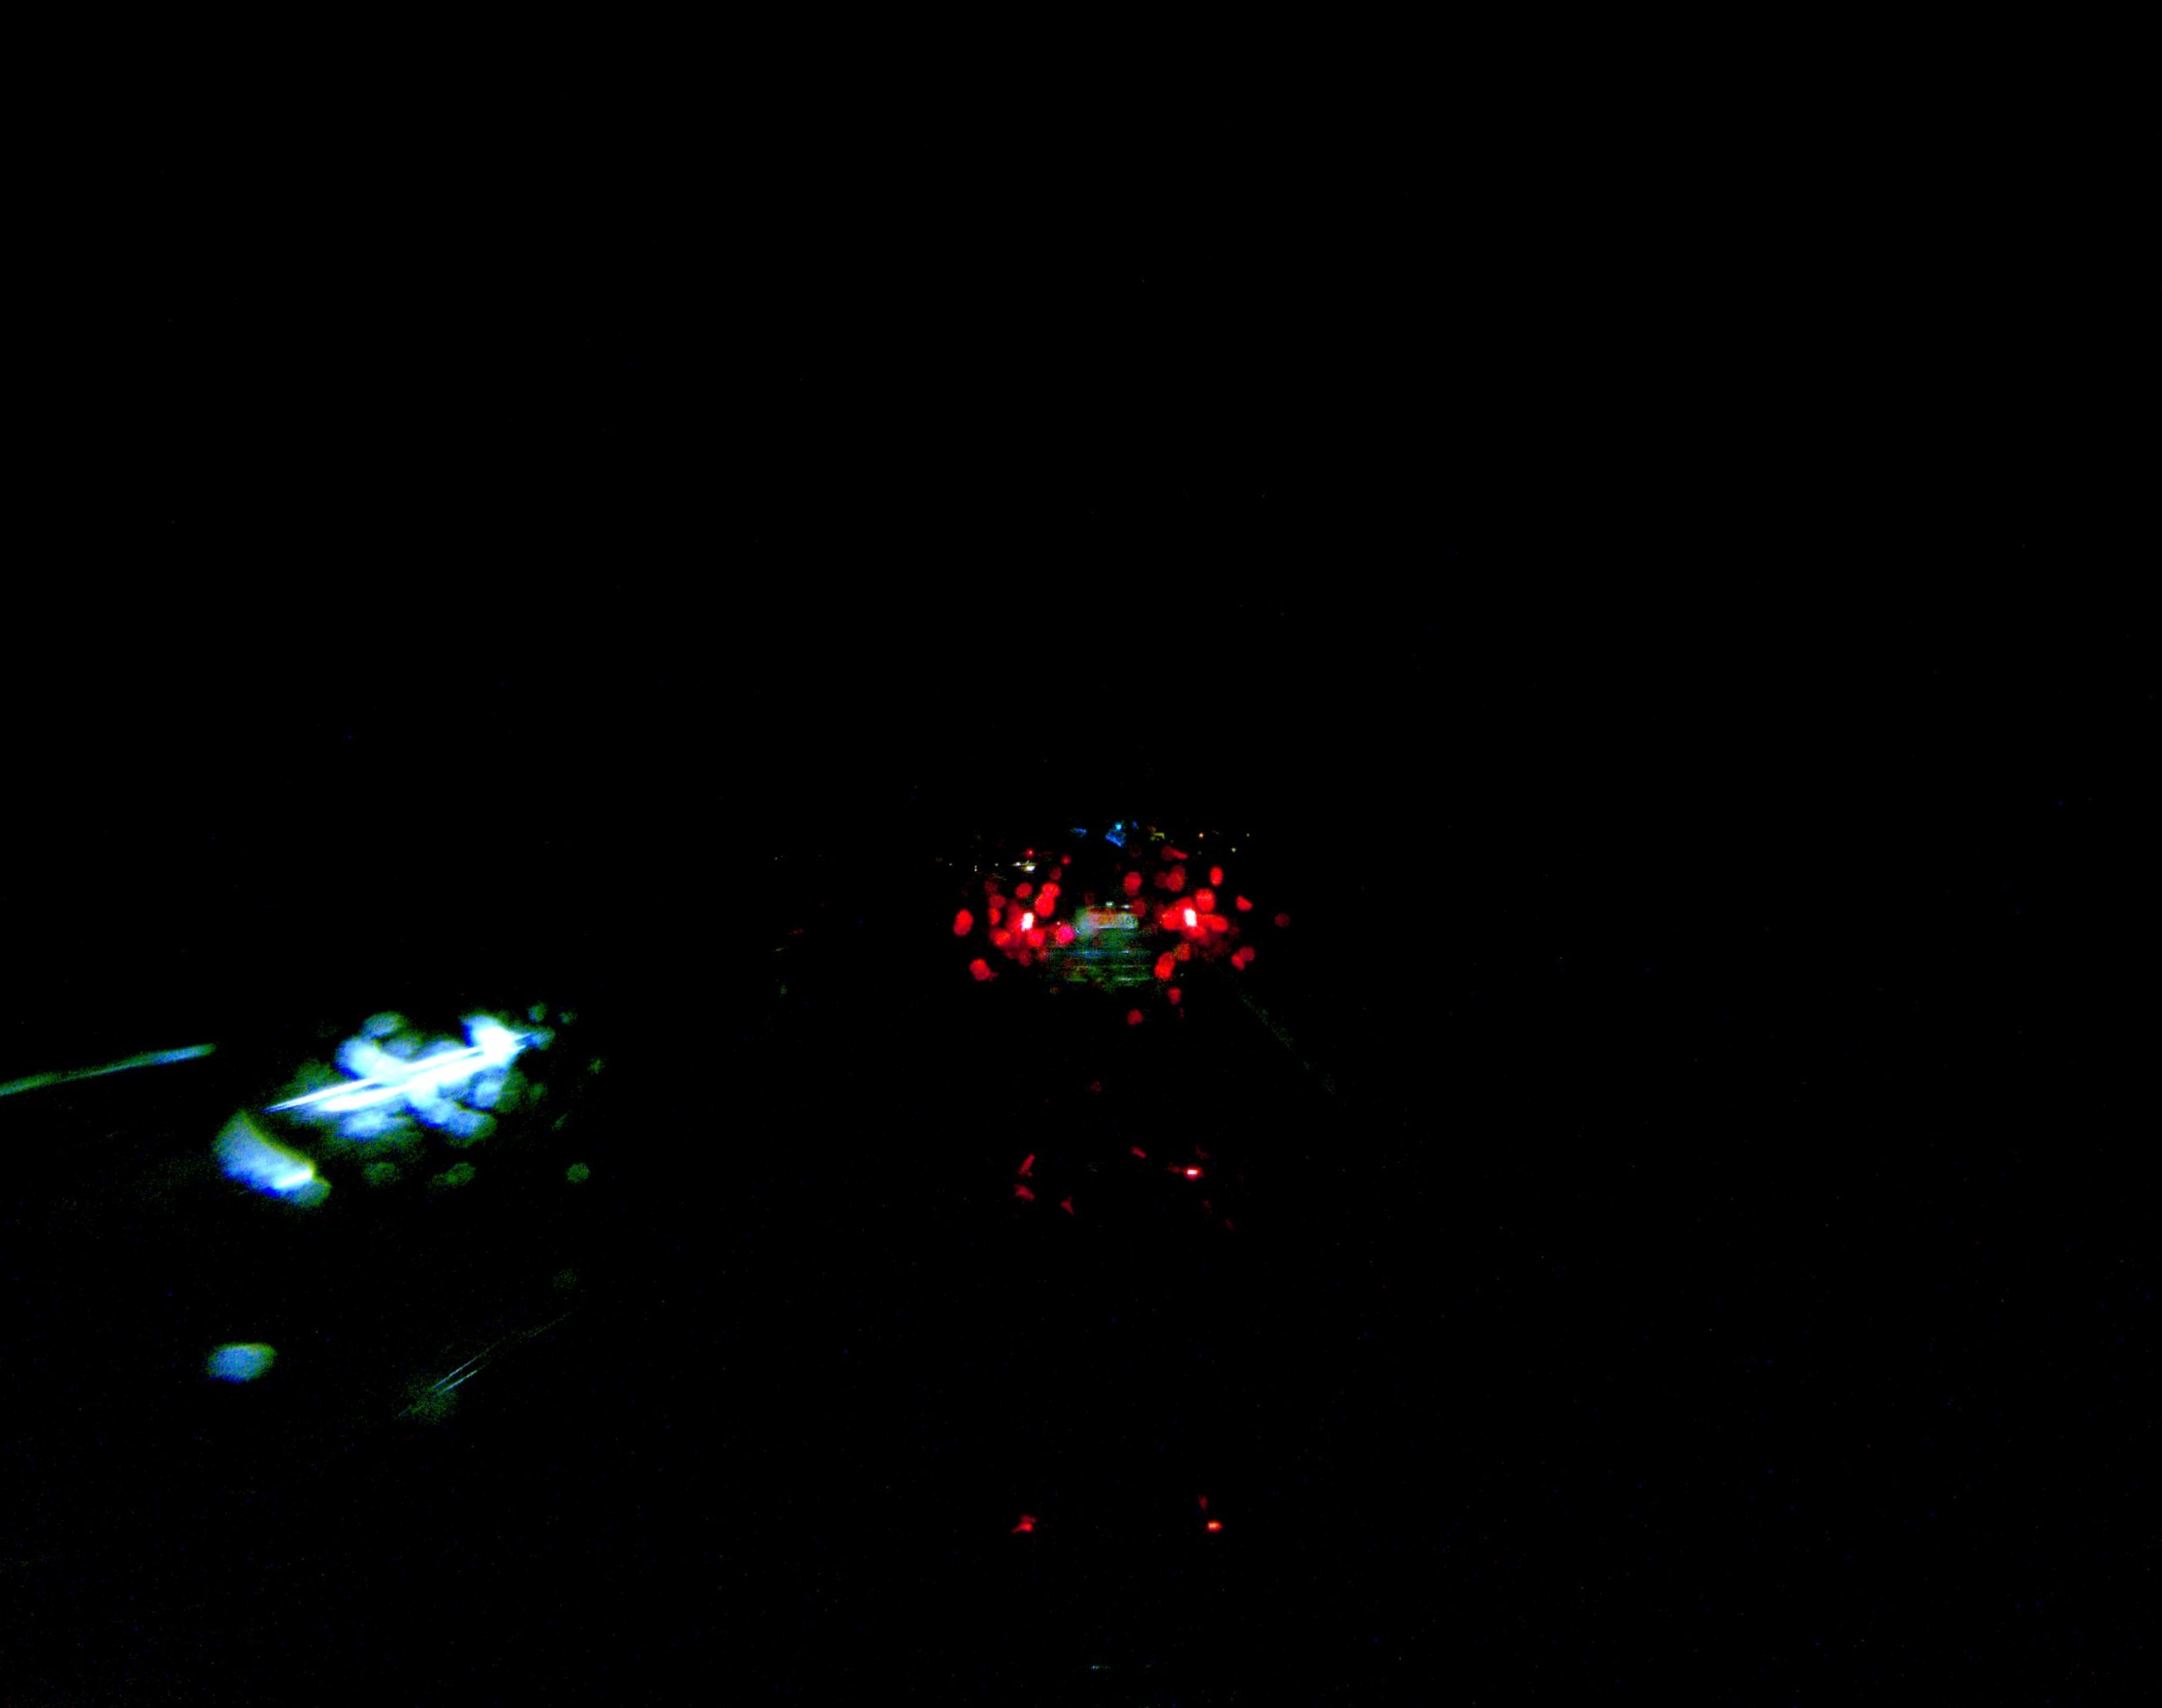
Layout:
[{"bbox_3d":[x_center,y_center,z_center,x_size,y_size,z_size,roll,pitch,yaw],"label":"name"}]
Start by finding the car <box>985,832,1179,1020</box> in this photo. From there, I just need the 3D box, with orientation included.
[{"bbox_3d":[0.091,0.689,9.497,1.768,1.712,4.002,-1,-1,2],"label":"car"}]

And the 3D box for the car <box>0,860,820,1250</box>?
[{"bbox_3d":[-3.390,0.800,5.316,1.897,1.470,4.275,1,0,1],"label":"car"}]
